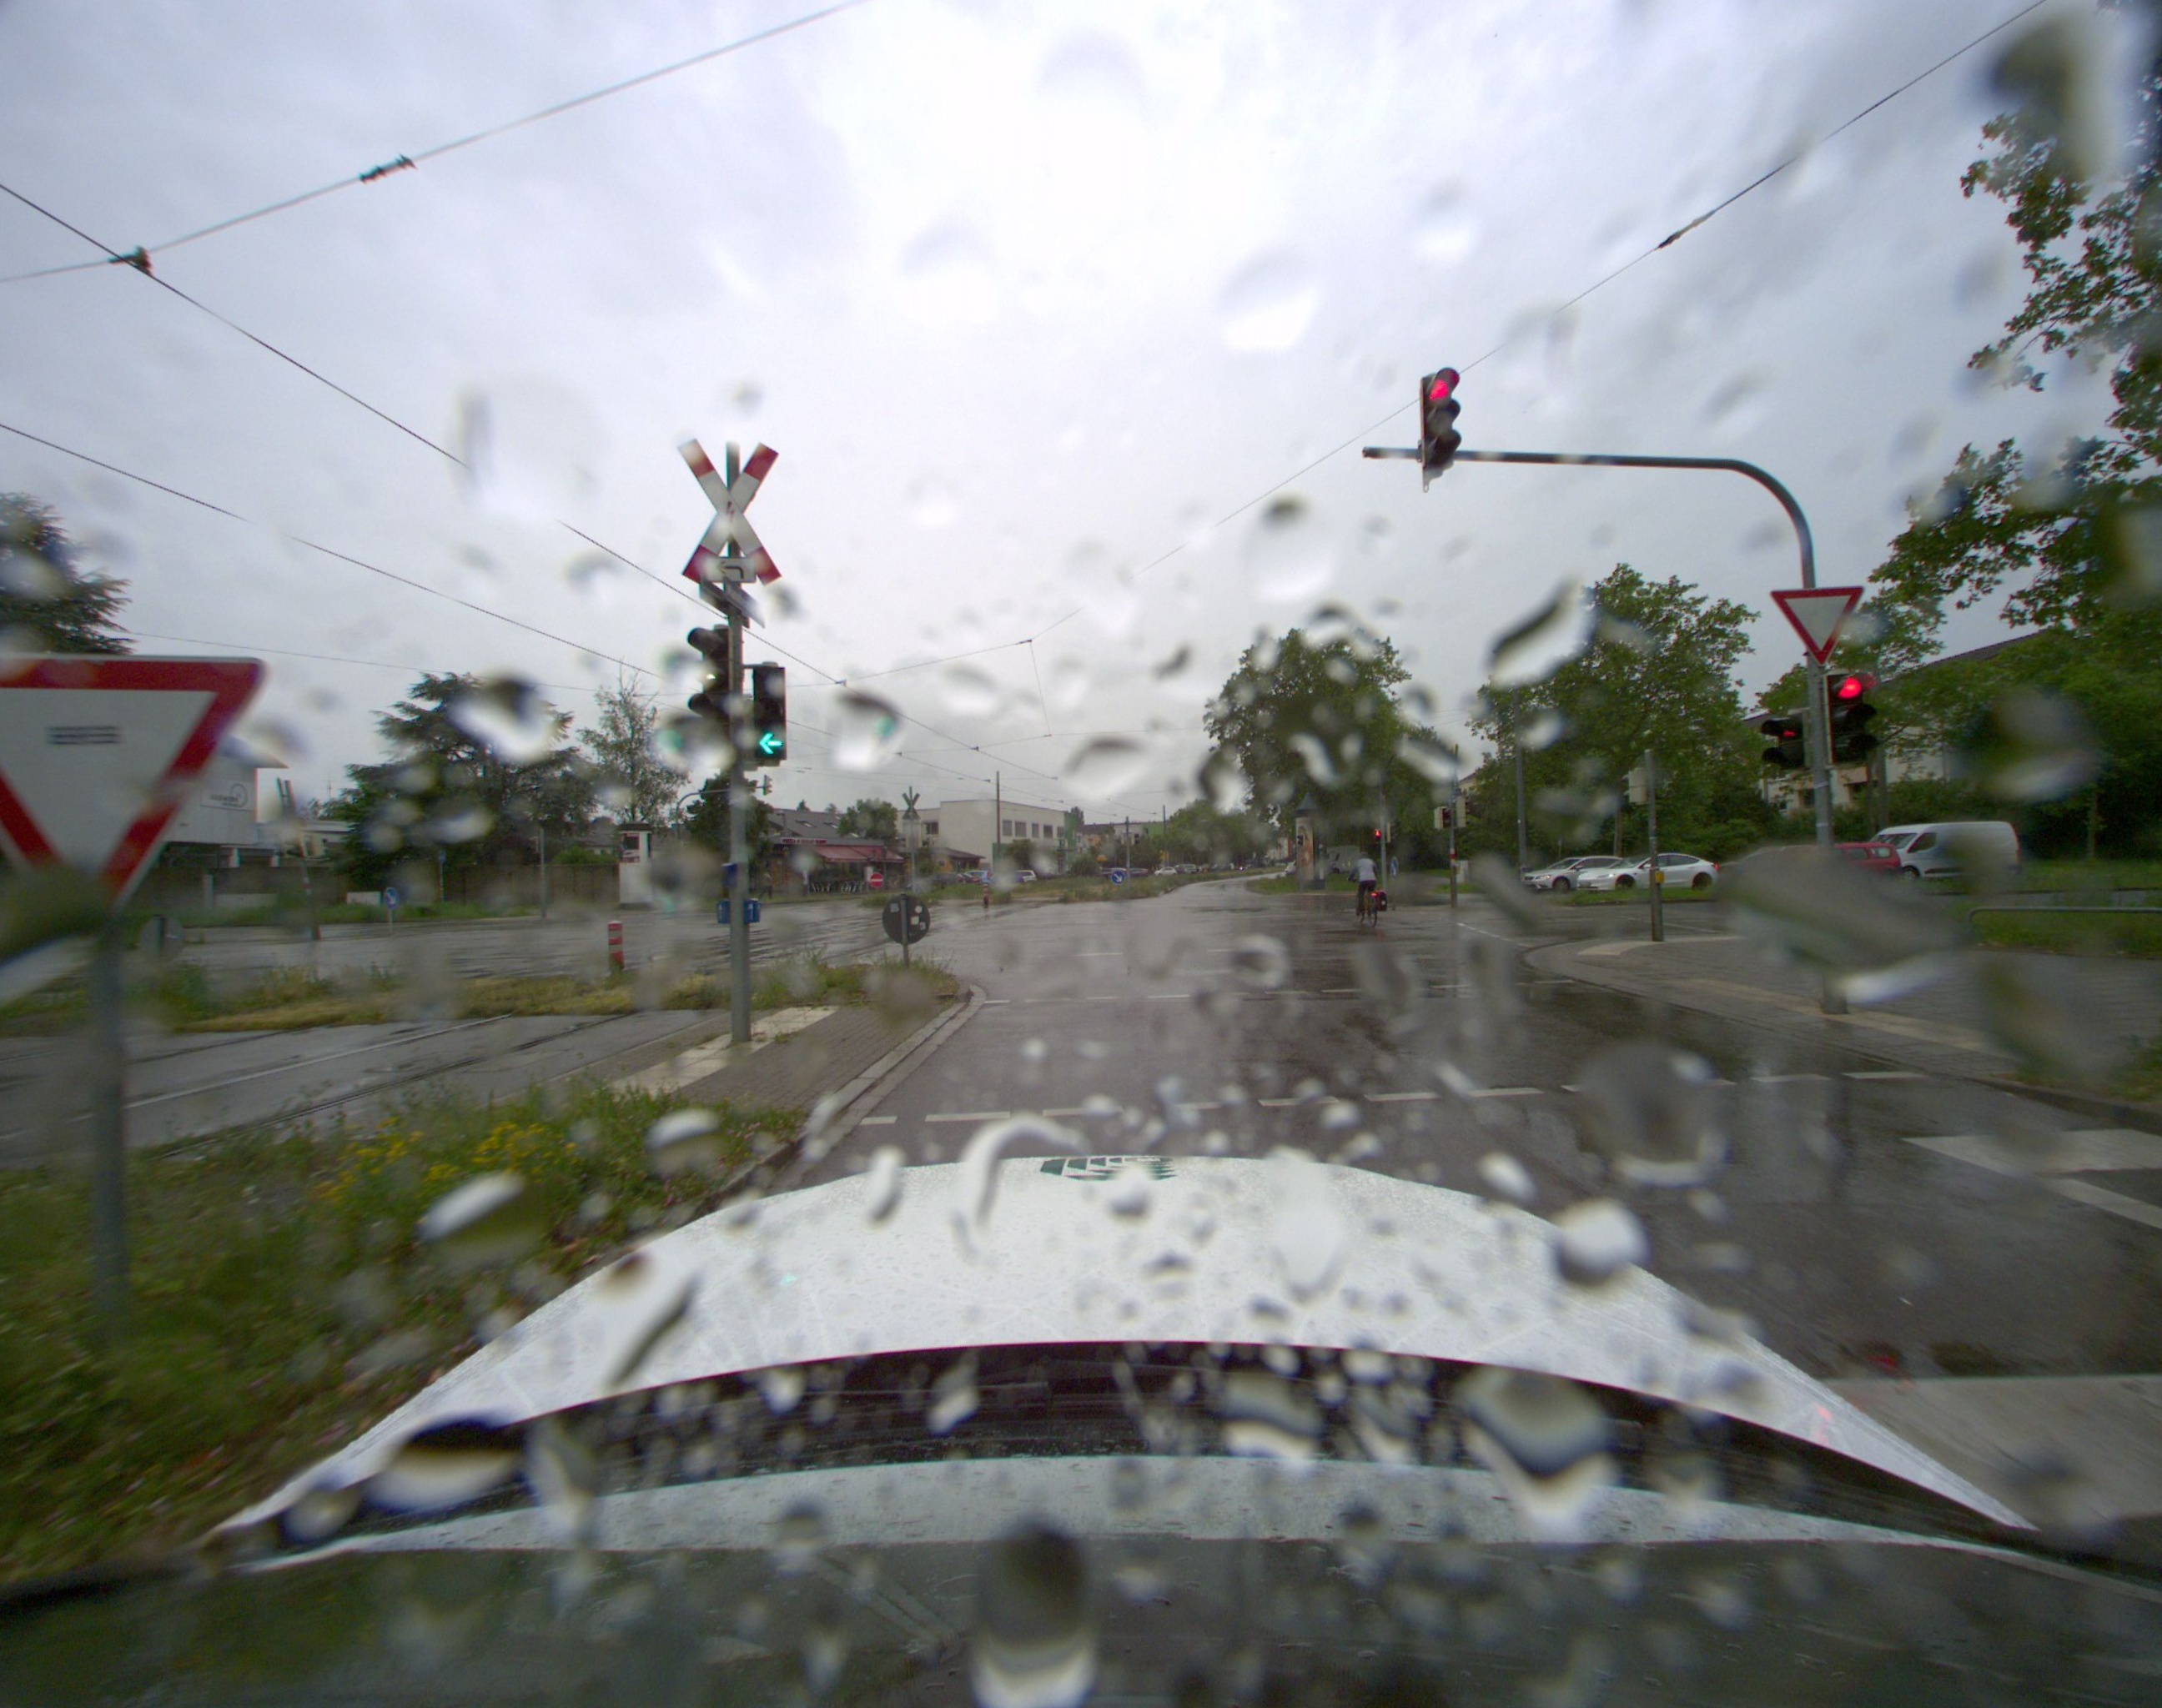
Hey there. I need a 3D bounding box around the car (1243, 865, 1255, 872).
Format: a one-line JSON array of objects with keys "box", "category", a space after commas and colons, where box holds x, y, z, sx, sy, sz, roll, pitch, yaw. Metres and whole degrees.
[{"box": [38.726, 3.303, 187.916, 1.873, 1.662, 4.022, -1, -1, 25], "category": "car"}]

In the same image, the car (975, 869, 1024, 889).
[{"box": [-6.847, 2.101, 68.126, 3.987, 1.582, 1.923, -1, -1, -10], "category": "car"}]

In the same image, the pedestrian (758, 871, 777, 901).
[{"box": [-19.060, 1.947, 49.530, 0.722, 1.797, 0.887, 0, -1, 1], "category": "pedestrian"}]

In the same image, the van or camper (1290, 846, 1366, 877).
[{"box": [26.495, 0.850, 87.364, 7.359, 3.179, 3.280, -1, -1, 23], "category": "van or camper"}]

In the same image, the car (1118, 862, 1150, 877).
[{"box": [7.051, 2.057, 108.472, 3.981, 1.888, 1.996, 0, -1, -6], "category": "car"}]

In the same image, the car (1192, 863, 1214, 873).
[{"box": [23.529, 2.679, 156.861, 3.978, 1.832, 1.997, 0, -1, -4], "category": "car"}]

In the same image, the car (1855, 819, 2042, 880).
[{"box": [35.075, -0.168, 33.015, 5.589, 2.392, 1.998, 0, -1, -2], "category": "car"}]

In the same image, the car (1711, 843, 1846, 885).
[{"box": [27.970, 0.395, 32.737, 4.049, 1.607, 1.788, 0, -1, -5], "category": "car"}]

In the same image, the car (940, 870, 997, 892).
[{"box": [-8.721, 2.063, 63.172, 3.967, 1.582, 1.861, -2, -1, 5], "category": "car"}]

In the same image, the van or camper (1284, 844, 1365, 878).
[{"box": [23.483, 0.695, 78.414, 7.262, 3.179, 3.278, -1, -1, 19], "category": "van or camper"}]

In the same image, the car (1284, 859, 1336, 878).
[{"box": [21.233, 1.394, 75.565, 4.405, 1.717, 2.011, -1, -1, 22], "category": "car"}]

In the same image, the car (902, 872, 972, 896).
[{"box": [-10.131, 2.122, 57.399, 4.460, 1.418, 1.859, -3, -1, 2], "category": "car"}]

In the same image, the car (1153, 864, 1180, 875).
[{"box": [13.059, 2.360, 124.815, 3.773, 1.703, 1.831, 0, -1, -9], "category": "car"}]

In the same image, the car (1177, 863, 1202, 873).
[{"box": [19.093, 2.473, 142.892, 3.987, 1.759, 2.003, 0, -1, -10], "category": "car"}]

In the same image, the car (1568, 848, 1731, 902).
[{"box": [20.163, 0.741, 28.997, 4.586, 1.828, 1.931, 0, -1, -5], "category": "car"}]

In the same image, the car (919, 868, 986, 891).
[{"box": [-9.388, 1.873, 59.801, 4.479, 1.418, 1.859, -3, -1, 2], "category": "car"}]

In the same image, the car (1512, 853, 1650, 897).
[{"box": [19.814, 0.827, 32.387, 4.386, 1.691, 1.931, 0, -1, -5], "category": "car"}]

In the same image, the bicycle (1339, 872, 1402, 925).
[{"box": [6.438, 0.967, 18.182, 0.689, 1.117, 1.884, 0, -2, -1], "category": "bicycle"}]

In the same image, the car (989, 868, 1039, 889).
[{"box": [-5.858, 2.128, 71.281, 4.112, 1.641, 1.921, -1, -1, -13], "category": "car"}]

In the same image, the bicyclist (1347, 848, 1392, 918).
[{"box": [6.432, 0.641, 18.191, 0.689, 1.506, 0.843, 0, -2, -2], "category": "bicyclist"}]

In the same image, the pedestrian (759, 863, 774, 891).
[{"box": [-22.654, 1.640, 58.658, 0.788, 2.014, 0.727, 0, -1, 7], "category": "pedestrian"}]

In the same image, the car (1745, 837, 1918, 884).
[{"box": [26.675, 0.239, 29.042, 4.590, 1.607, 1.790, 0, -1, -1], "category": "car"}]
